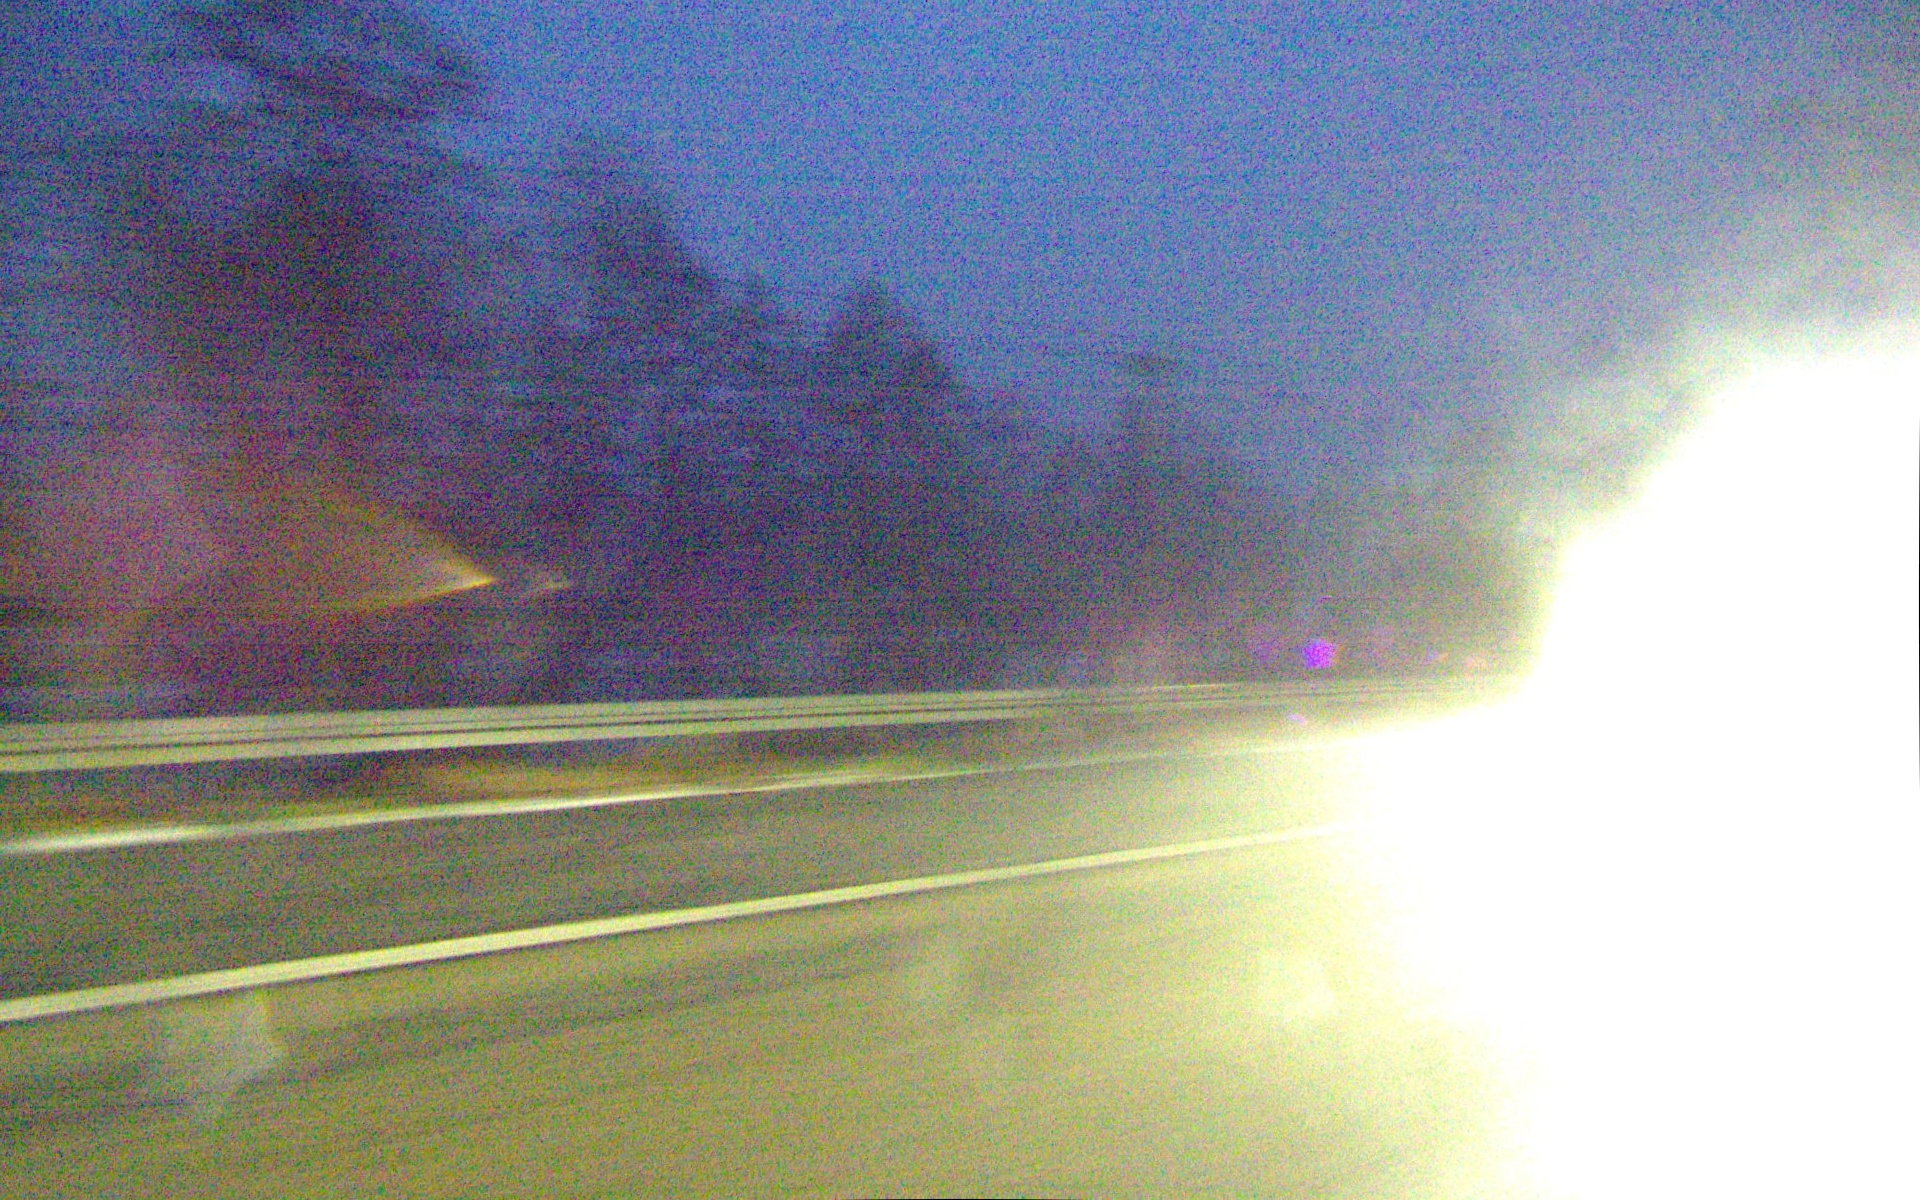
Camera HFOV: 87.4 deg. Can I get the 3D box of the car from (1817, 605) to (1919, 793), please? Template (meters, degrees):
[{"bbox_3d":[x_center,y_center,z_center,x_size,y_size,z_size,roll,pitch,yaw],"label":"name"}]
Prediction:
[{"bbox_3d":[10.336,0.903,9.740,4.094,1.659,1.851,1,-2,-30],"label":"car"}]
